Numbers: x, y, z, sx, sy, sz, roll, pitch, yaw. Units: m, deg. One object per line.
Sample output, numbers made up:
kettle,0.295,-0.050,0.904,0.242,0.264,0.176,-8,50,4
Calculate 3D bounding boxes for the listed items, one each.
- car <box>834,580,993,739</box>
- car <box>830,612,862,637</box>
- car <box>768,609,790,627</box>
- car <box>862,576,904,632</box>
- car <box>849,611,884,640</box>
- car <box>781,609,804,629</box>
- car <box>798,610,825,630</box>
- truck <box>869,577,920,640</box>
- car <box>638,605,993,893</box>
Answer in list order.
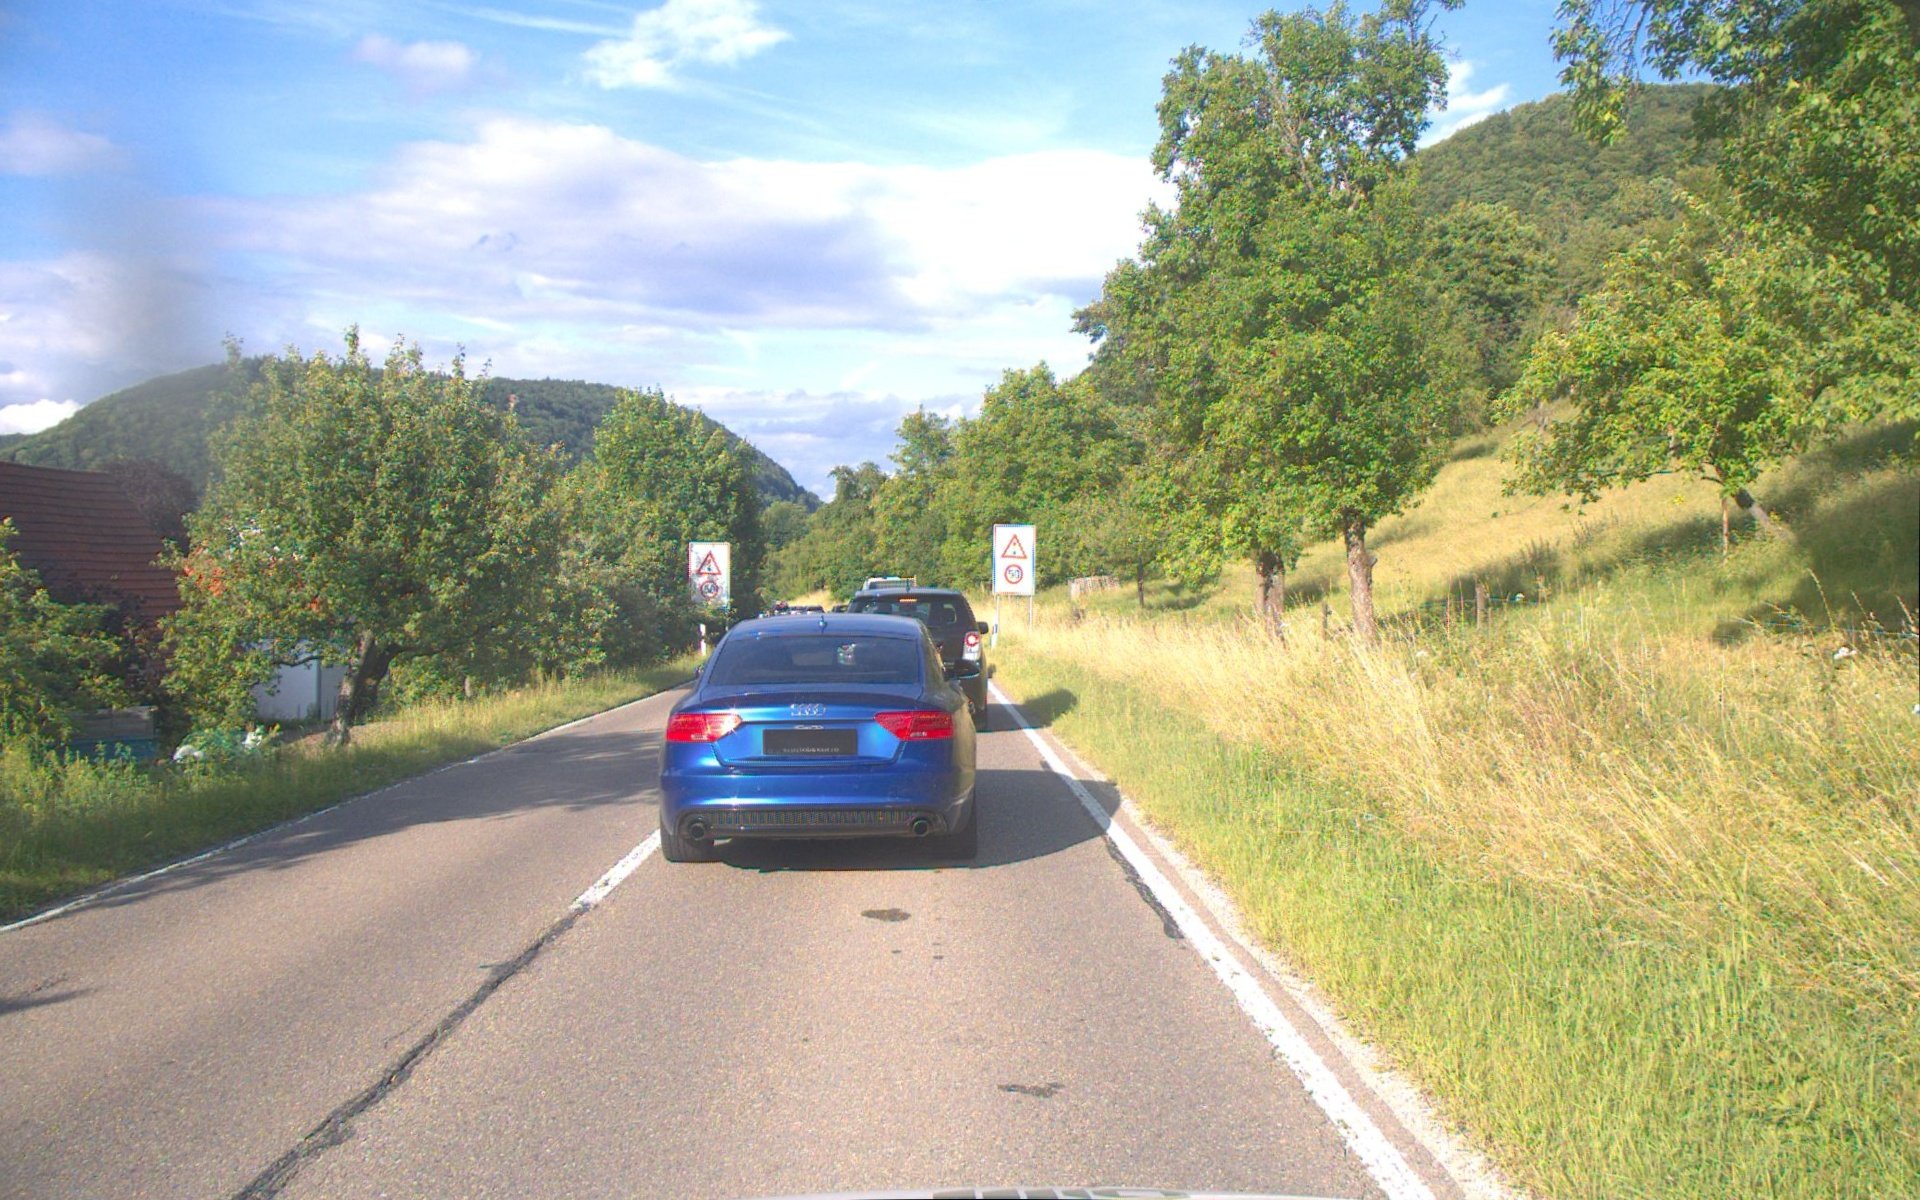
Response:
car,-0.540,0.619,19.428,1.658,1.652,3.788,1,0,-2
car,-7.689,1.636,111.644,1.716,1.522,3.769,2,0,-10
car,-16.683,1.636,152.166,1.532,1.522,3.765,2,0,-14
car,-3.594,0.175,76.579,1.757,2.496,3.916,2,0,-4
car,-5.493,1.458,96.595,1.715,1.522,3.772,2,0,-7
car,-14.459,1.629,142.785,1.532,1.522,3.766,2,0,-13
car,-11.973,1.587,132.980,1.717,1.522,3.767,2,0,-12
truck,-2.647,0.315,67.201,1.911,2.386,5.091,2,0,-2
car,-0.766,0.754,10.452,1.769,1.406,4.214,-1,0,-1
